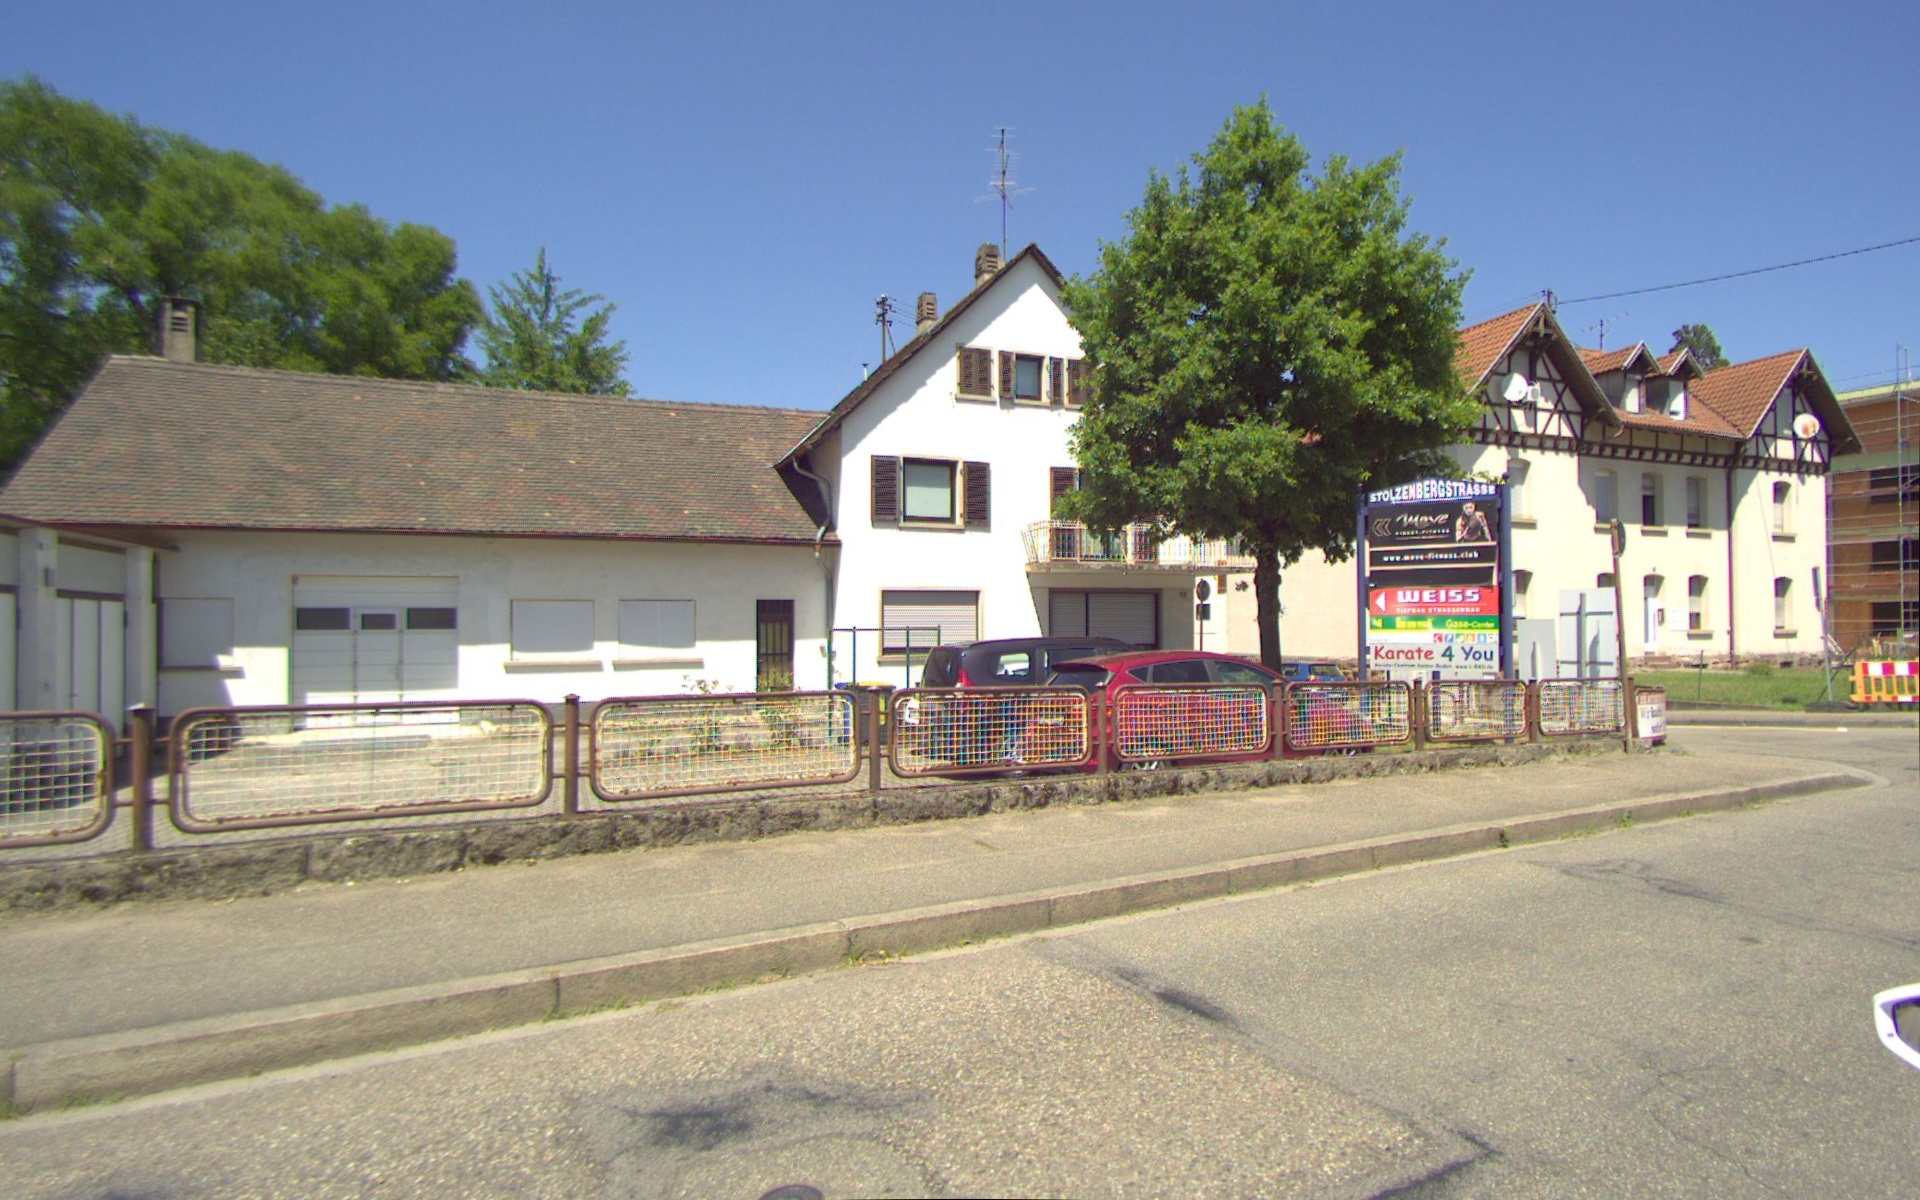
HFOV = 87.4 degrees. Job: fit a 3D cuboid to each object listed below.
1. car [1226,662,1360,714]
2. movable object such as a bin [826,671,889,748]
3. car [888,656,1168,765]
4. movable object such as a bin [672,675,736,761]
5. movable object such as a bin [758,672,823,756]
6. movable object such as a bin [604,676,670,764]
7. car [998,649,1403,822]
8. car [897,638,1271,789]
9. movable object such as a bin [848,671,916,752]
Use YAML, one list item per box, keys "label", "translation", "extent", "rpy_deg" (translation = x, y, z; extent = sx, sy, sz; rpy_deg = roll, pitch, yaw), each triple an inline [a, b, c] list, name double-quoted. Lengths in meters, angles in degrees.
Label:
- label: "car"
  translation: [10.228, 2.682, 31.139]
  extent: [1.774, 1.452, 3.980]
  rpy_deg: [0, -4, -22]
- label: "movable object such as a bin"
  translation: [-1.722, 1.807, 16.820]
  extent: [0.890, 1.227, 0.885]
  rpy_deg: [1, -3, -18]
- label: "car"
  translation: [1.050, 1.608, 15.463]
  extent: [3.945, 1.452, 1.790]
  rpy_deg: [1, -3, -25]
- label: "movable object such as a bin"
  translation: [-3.879, 1.758, 15.187]
  extent: [0.890, 1.227, 0.885]
  rpy_deg: [1, -3, -18]
- label: "movable object such as a bin"
  translation: [-2.632, 1.746, 15.548]
  extent: [0.890, 1.227, 0.885]
  rpy_deg: [1, -3, -18]
- label: "movable object such as a bin"
  translation: [-4.765, 1.746, 14.854]
  extent: [0.890, 1.227, 0.885]
  rpy_deg: [1, -3, -18]
- label: "car"
  translation: [2.558, 1.308, 10.717]
  extent: [3.945, 1.538, 1.790]
  rpy_deg: [1, -3, -25]
- label: "car"
  translation: [1.609, 1.366, 13.111]
  extent: [4.556, 1.700, 1.792]
  rpy_deg: [1, -3, -22]
- label: "movable object such as a bin"
  translation: [-1.250, 1.752, 15.984]
  extent: [0.890, 1.227, 0.885]
  rpy_deg: [1, -3, -18]
